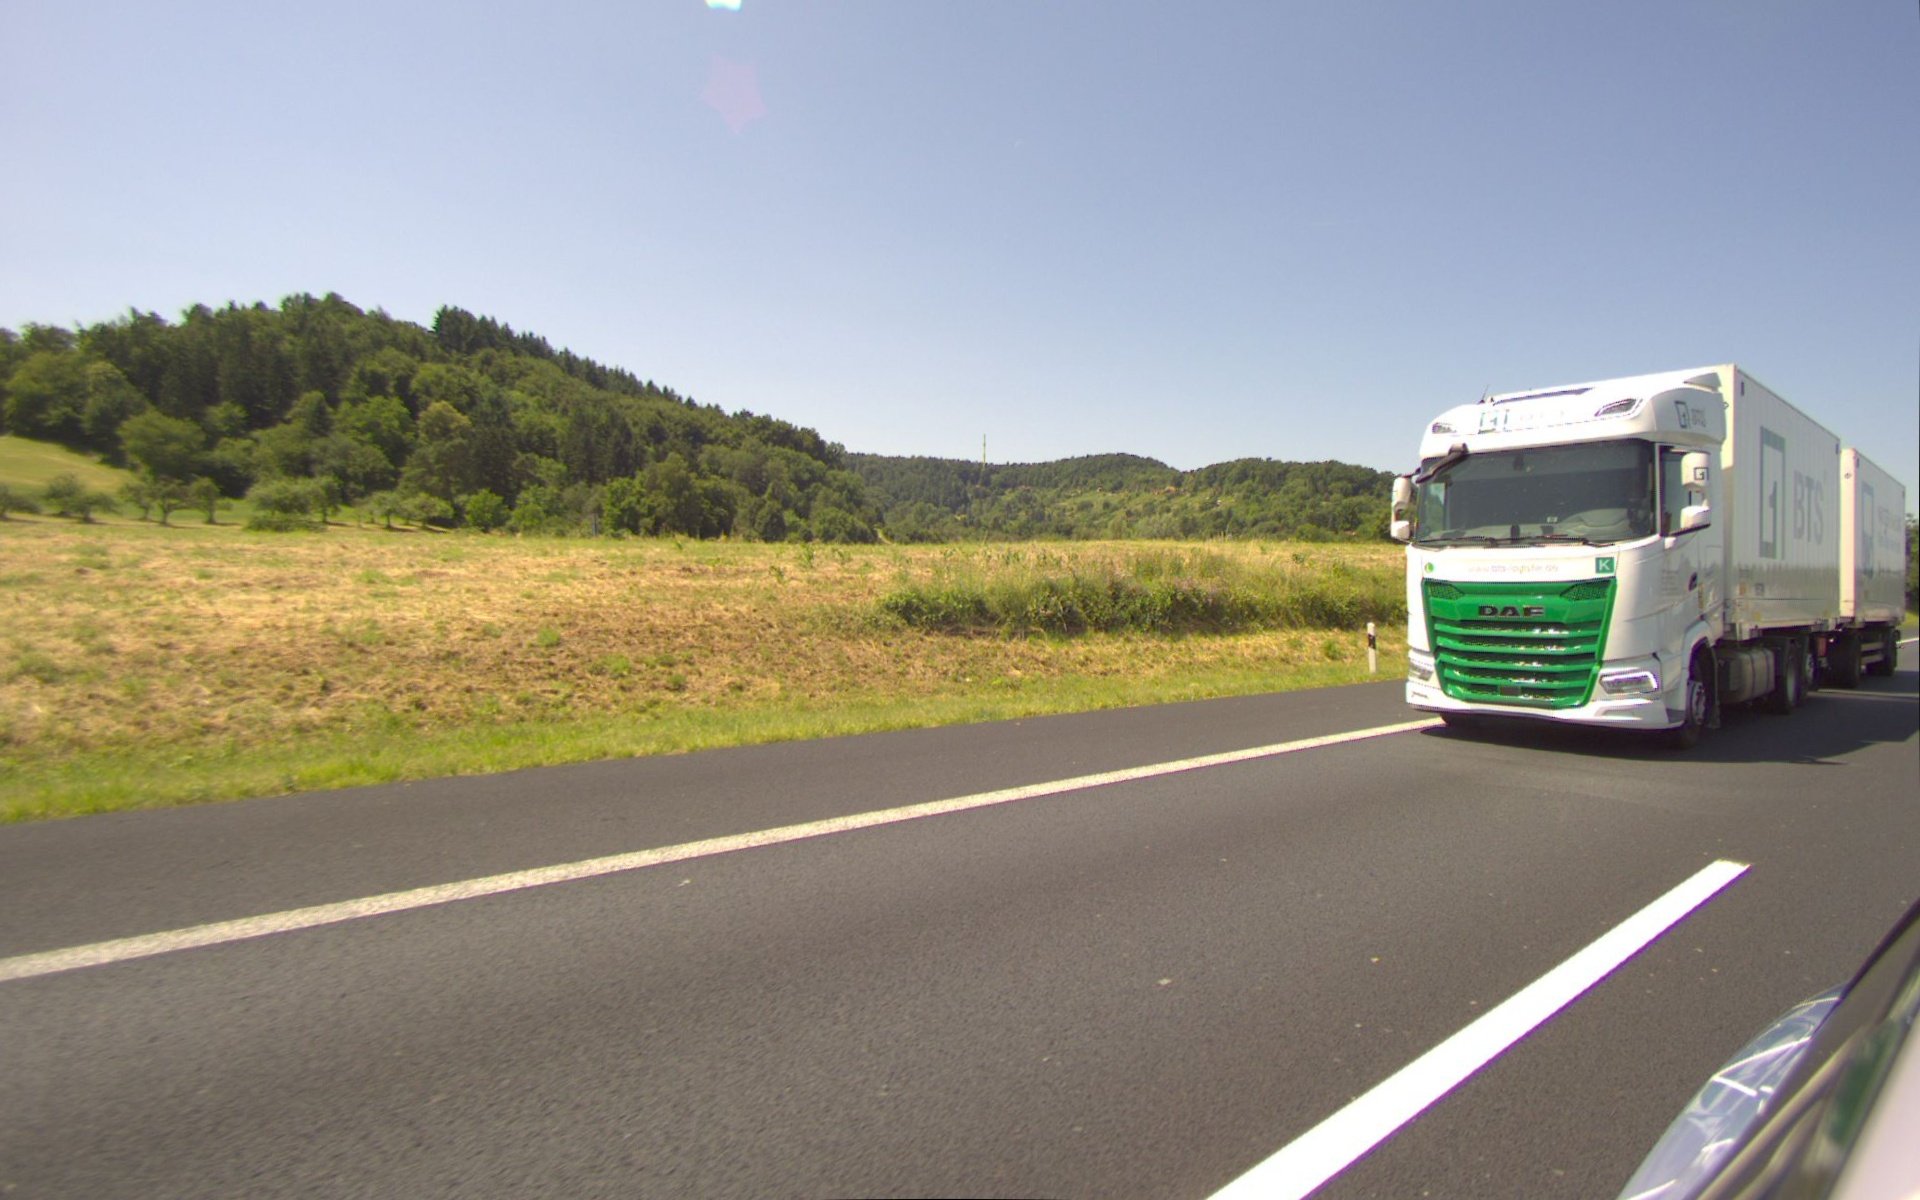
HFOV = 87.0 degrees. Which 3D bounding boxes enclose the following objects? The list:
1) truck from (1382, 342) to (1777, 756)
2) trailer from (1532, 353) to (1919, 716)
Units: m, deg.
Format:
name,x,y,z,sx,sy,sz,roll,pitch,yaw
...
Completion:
name,x,y,z,sx,sy,sz,roll,pitch,yaw
truck,7.029,-0.477,11.345,4.328,3.638,2.646,-1,0,-42
trailer,14.169,-0.802,17.660,14.636,4.241,2.660,0,0,-41
